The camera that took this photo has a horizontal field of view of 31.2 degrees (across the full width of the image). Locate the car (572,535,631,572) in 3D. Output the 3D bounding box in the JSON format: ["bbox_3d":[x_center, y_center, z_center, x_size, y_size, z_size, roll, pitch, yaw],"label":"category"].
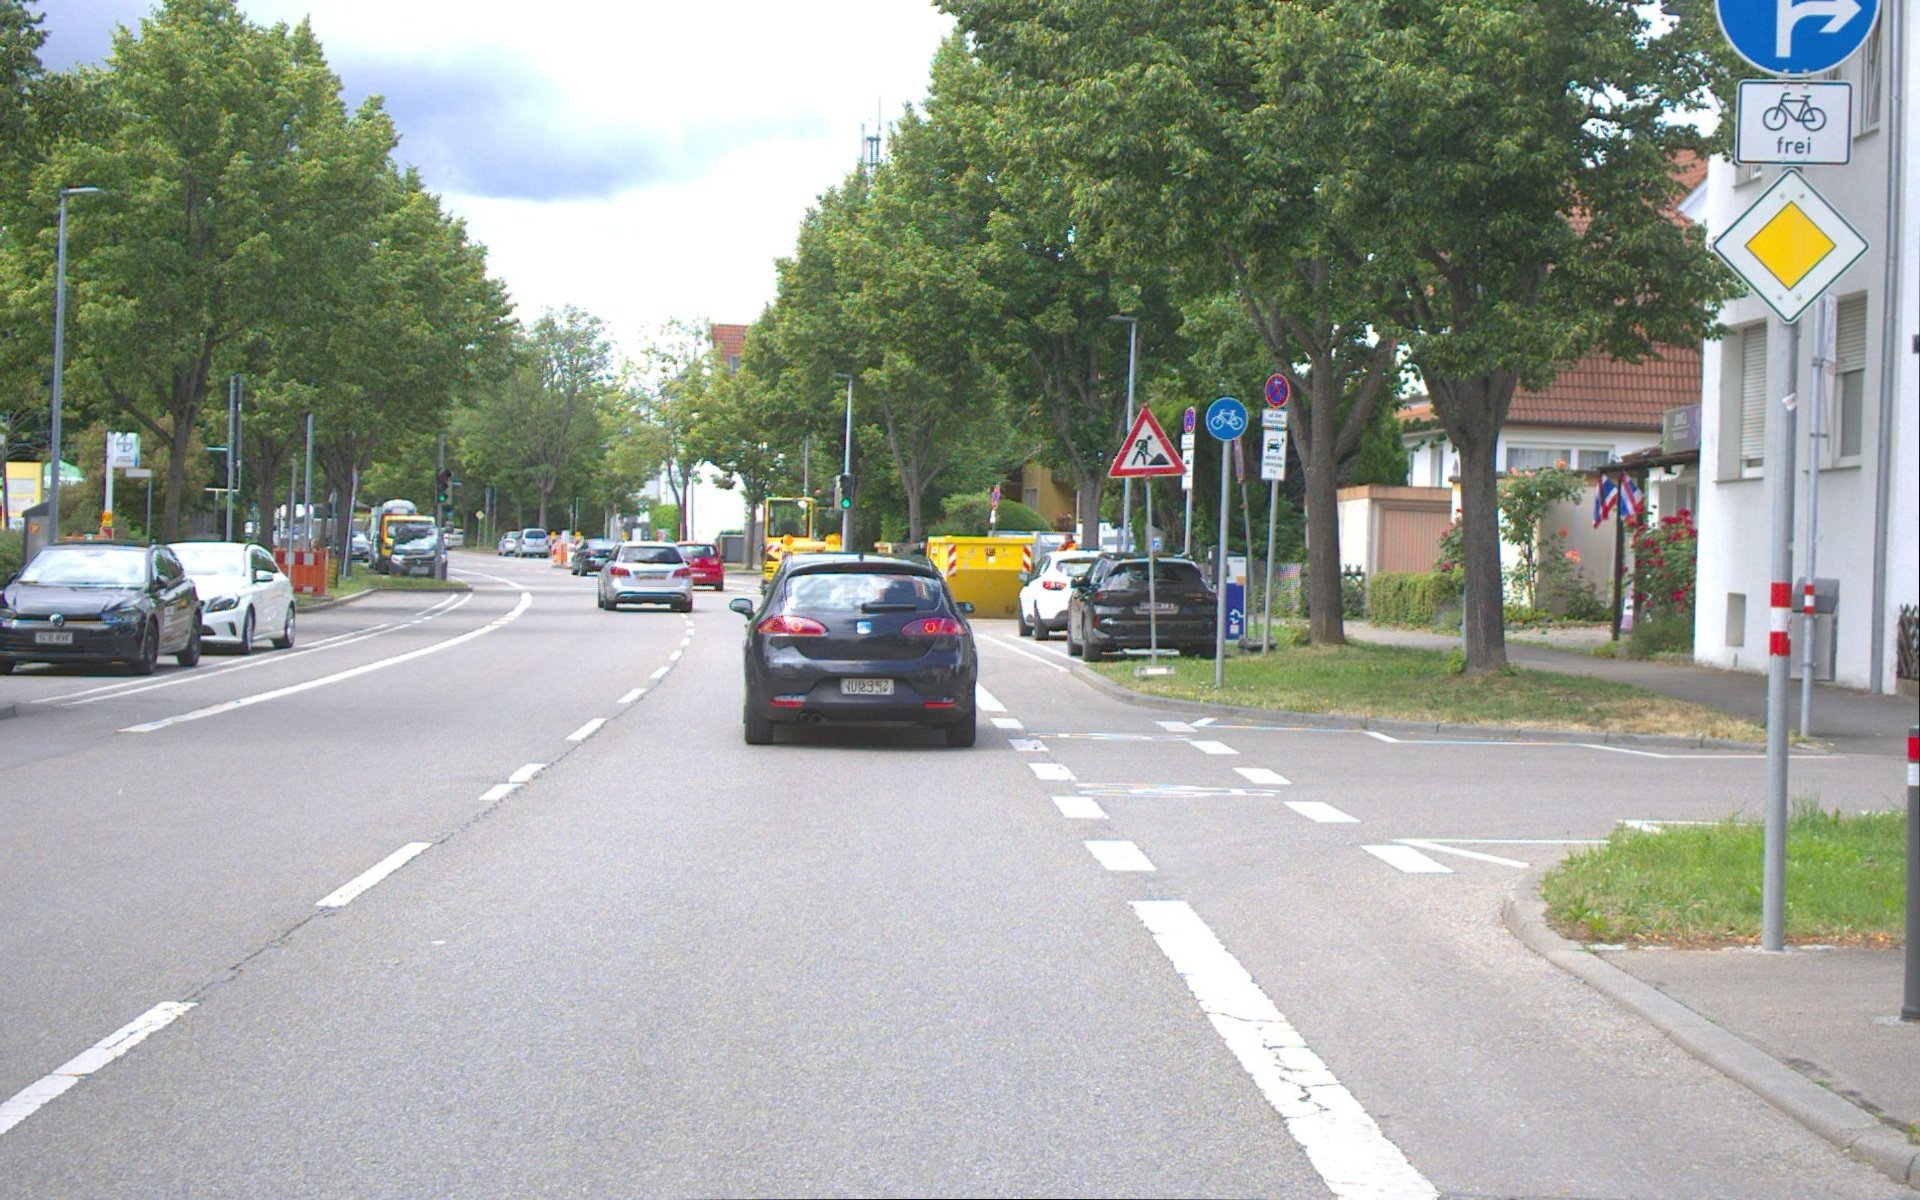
[{"bbox_3d":[-13.680,-1.791,131.168,1.809,1.370,3.694,1,1,-12],"label":"car"}]

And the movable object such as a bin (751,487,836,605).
[{"bbox_3d":[-3.788,-1.231,77.758,1.768,2.565,3.740,1,1,-4],"label":"movable object such as a bin"}]

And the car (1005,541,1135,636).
[{"bbox_3d":[1.752,-0.210,55.969,1.672,1.457,4.001,1,1,-4],"label":"car"}]

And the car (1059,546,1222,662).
[{"bbox_3d":[2.367,0.012,46.206,1.705,1.449,4.617,1,1,-3],"label":"car"}]

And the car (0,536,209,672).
[{"bbox_3d":[-9.495,0.006,38.079,1.642,1.415,4.021,0,1,-3],"label":"car"}]

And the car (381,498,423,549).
[{"bbox_3d":[-31.581,-4.328,194.505,2.287,2.782,7.145,0,1,-9],"label":"car"}]

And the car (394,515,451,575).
[{"bbox_3d":[-16.361,-1.678,104.578,1.667,1.766,4.469,0,1,-9],"label":"car"}]

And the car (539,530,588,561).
[{"bbox_3d":[-18.349,-2.533,159.007,1.809,1.410,3.694,1,1,-13],"label":"car"}]

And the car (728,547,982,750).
[{"bbox_3d":[-0.882,0.321,26.684,1.818,1.433,3.740,0,1,-4],"label":"car"}]

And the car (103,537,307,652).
[{"bbox_3d":[-9.758,-0.104,44.718,1.714,1.401,4.300,1,1,0],"label":"car"}]

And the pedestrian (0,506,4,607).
[{"bbox_3d":[-8.798,0.004,30.054,0.542,1.675,0.750,3,2,7],"label":"pedestrian"}]

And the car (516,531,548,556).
[{"bbox_3d":[-24.952,-3.302,200.198,1.809,1.410,3.694,1,1,-7],"label":"car"}]

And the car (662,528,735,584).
[{"bbox_3d":[-7.736,-1.306,101.580,1.790,1.617,3.741,0,1,-10],"label":"car"}]

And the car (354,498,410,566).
[{"bbox_3d":[-23.006,-2.712,136.714,2.092,2.617,5.046,1,1,-10],"label":"car"}]

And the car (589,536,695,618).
[{"bbox_3d":[-6.782,-0.505,73.048,1.905,1.680,3.741,0,1,-10],"label":"car"}]

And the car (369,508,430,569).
[{"bbox_3d":[-20.647,-2.288,126.505,2.092,2.167,5.046,1,1,-10],"label":"car"}]
